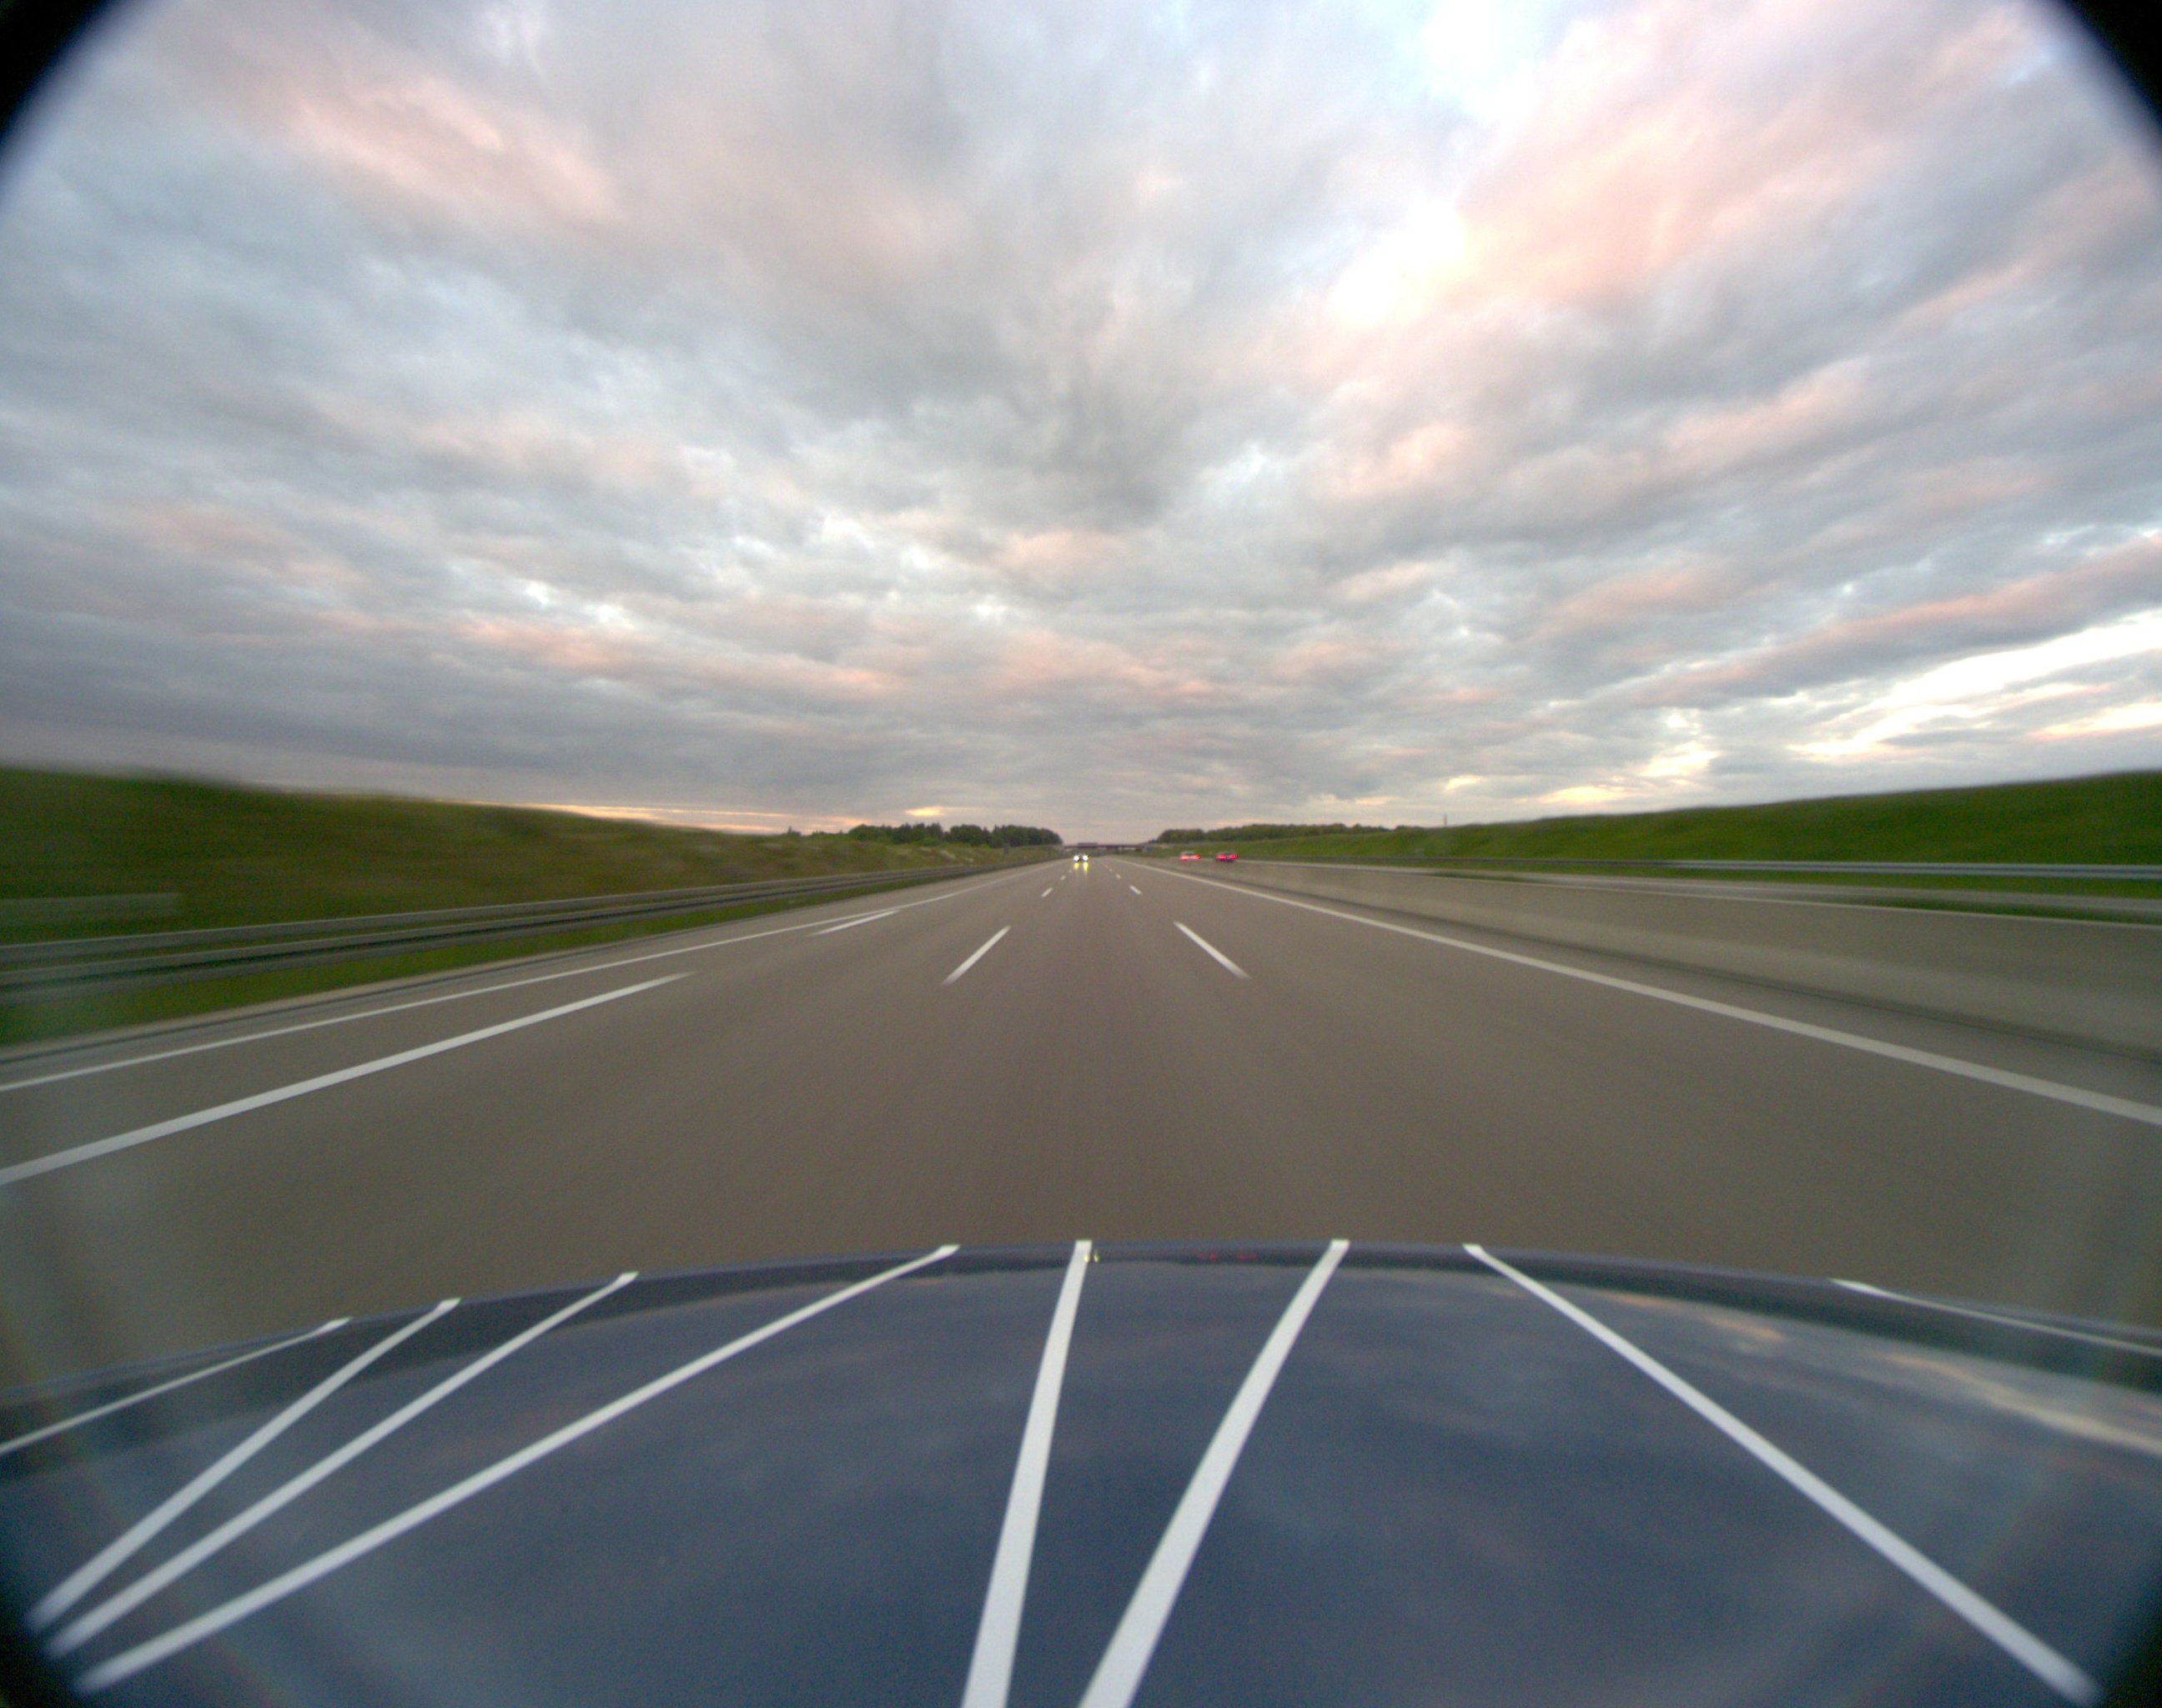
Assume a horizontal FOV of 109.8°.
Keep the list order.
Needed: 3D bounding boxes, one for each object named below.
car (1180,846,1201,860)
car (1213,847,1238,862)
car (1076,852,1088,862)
[{"bbox_3d":[12.749,-0.102,88.685,1.753,1.588,4.643,-2,0,1],"label":"car"},{"bbox_3d":[16.744,0.041,88.214,2.008,1.578,4.572,-1,0,-1],"label":"car"},{"bbox_3d":[0.180,0.552,129.665,1.801,1.674,4.385,-1,1,1],"label":"car"}]
